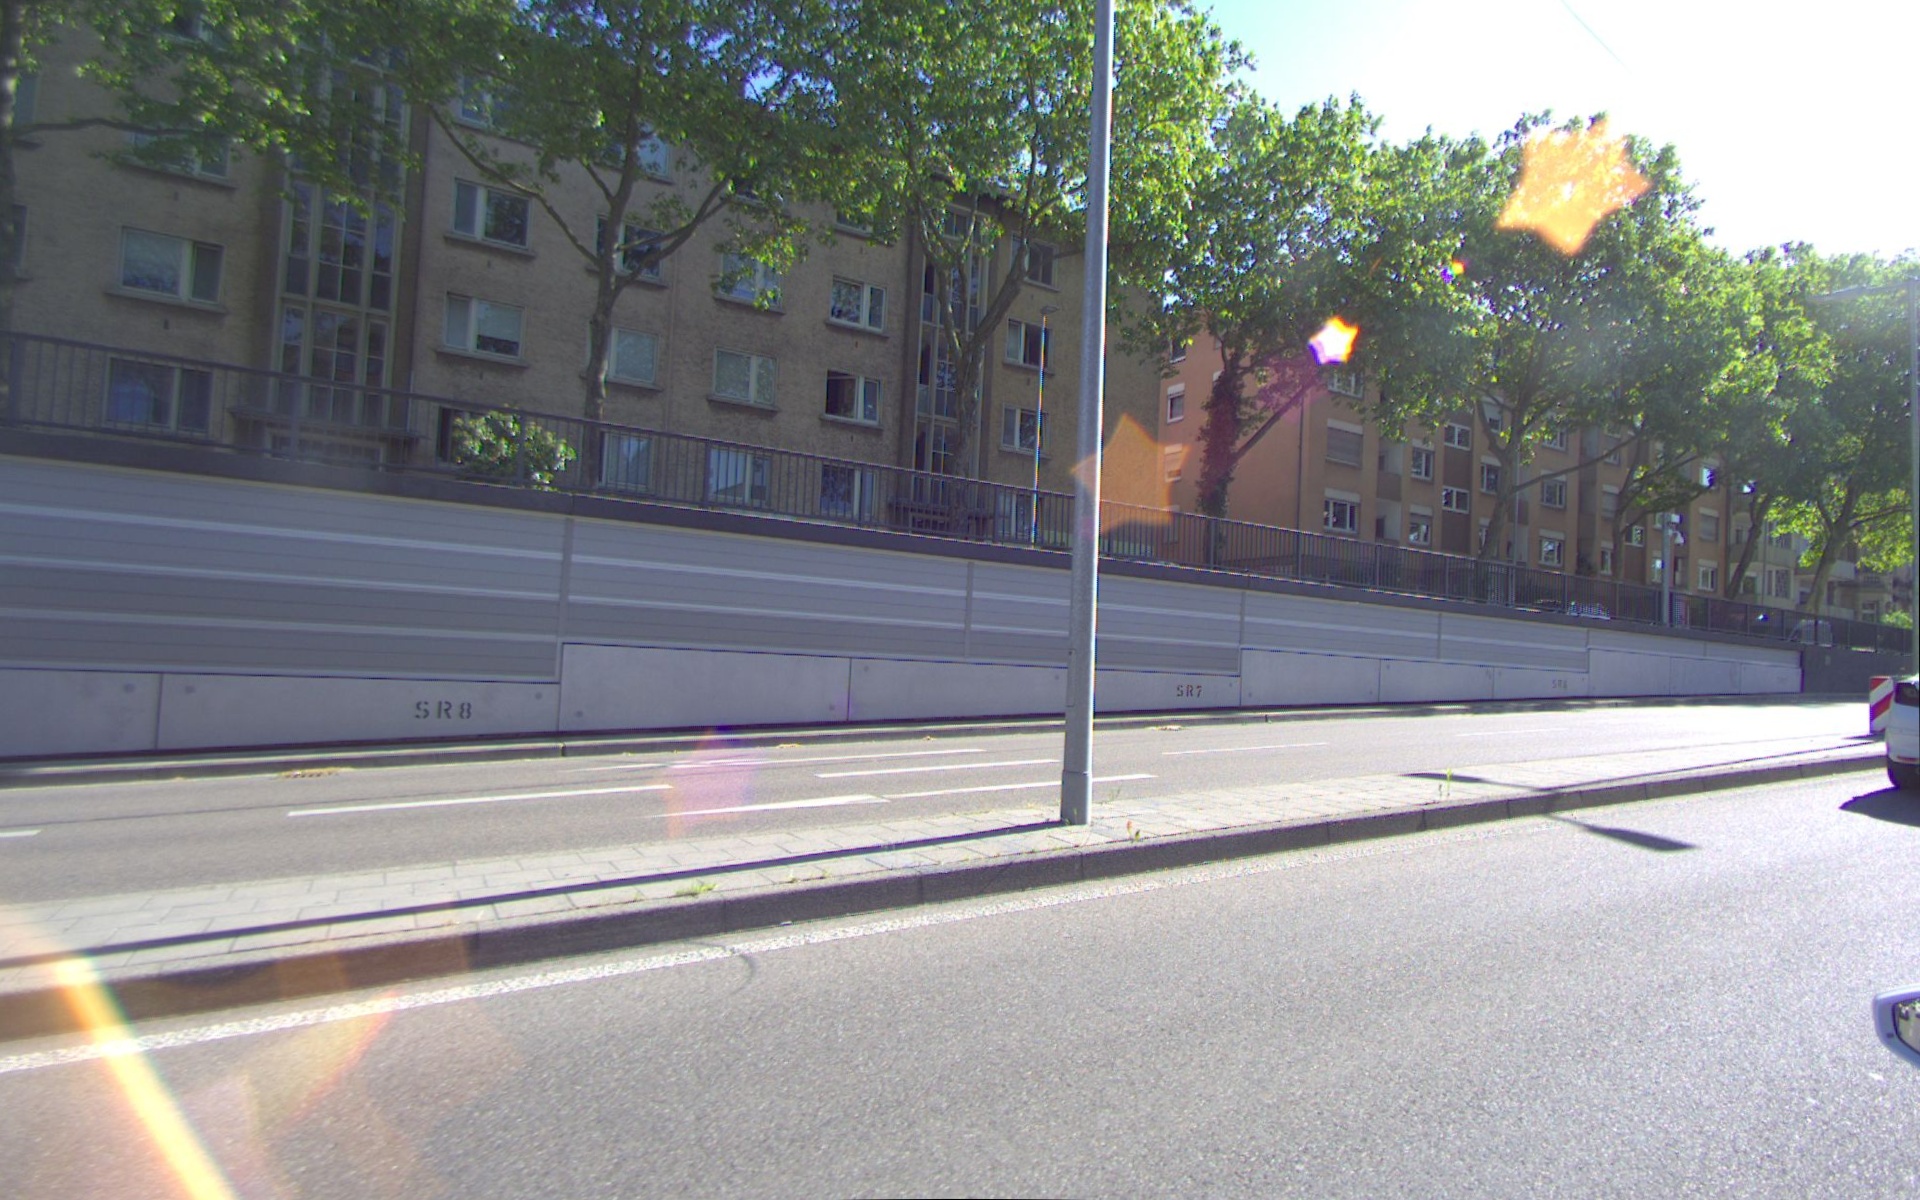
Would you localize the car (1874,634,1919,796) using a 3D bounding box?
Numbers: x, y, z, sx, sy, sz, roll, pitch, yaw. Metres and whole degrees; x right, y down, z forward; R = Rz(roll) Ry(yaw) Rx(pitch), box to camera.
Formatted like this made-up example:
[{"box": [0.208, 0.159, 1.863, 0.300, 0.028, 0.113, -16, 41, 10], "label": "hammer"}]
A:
[{"box": [10.429, 1.110, 9.479, 3.807, 1.422, 1.611, 3, -1, -31], "label": "car"}]

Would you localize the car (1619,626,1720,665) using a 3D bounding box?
[{"box": [30.327, 1.944, 42.910, 4.124, 1.407, 1.984, 4, -1, -30], "label": "car"}]

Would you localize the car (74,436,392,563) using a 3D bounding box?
[{"box": [-12.510, -1.647, 17.670, 4.258, 1.604, 1.910, 4, -1, -32], "label": "car"}]

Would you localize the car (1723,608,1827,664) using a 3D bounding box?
[{"box": [38.911, 1.725, 47.925, 5.355, 2.390, 1.985, 4, -1, -29], "label": "car"}]

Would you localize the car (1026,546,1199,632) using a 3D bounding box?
[{"box": [4.200, -0.247, 27.480, 4.363, 1.986, 1.956, 4, -1, -30], "label": "car"}]
